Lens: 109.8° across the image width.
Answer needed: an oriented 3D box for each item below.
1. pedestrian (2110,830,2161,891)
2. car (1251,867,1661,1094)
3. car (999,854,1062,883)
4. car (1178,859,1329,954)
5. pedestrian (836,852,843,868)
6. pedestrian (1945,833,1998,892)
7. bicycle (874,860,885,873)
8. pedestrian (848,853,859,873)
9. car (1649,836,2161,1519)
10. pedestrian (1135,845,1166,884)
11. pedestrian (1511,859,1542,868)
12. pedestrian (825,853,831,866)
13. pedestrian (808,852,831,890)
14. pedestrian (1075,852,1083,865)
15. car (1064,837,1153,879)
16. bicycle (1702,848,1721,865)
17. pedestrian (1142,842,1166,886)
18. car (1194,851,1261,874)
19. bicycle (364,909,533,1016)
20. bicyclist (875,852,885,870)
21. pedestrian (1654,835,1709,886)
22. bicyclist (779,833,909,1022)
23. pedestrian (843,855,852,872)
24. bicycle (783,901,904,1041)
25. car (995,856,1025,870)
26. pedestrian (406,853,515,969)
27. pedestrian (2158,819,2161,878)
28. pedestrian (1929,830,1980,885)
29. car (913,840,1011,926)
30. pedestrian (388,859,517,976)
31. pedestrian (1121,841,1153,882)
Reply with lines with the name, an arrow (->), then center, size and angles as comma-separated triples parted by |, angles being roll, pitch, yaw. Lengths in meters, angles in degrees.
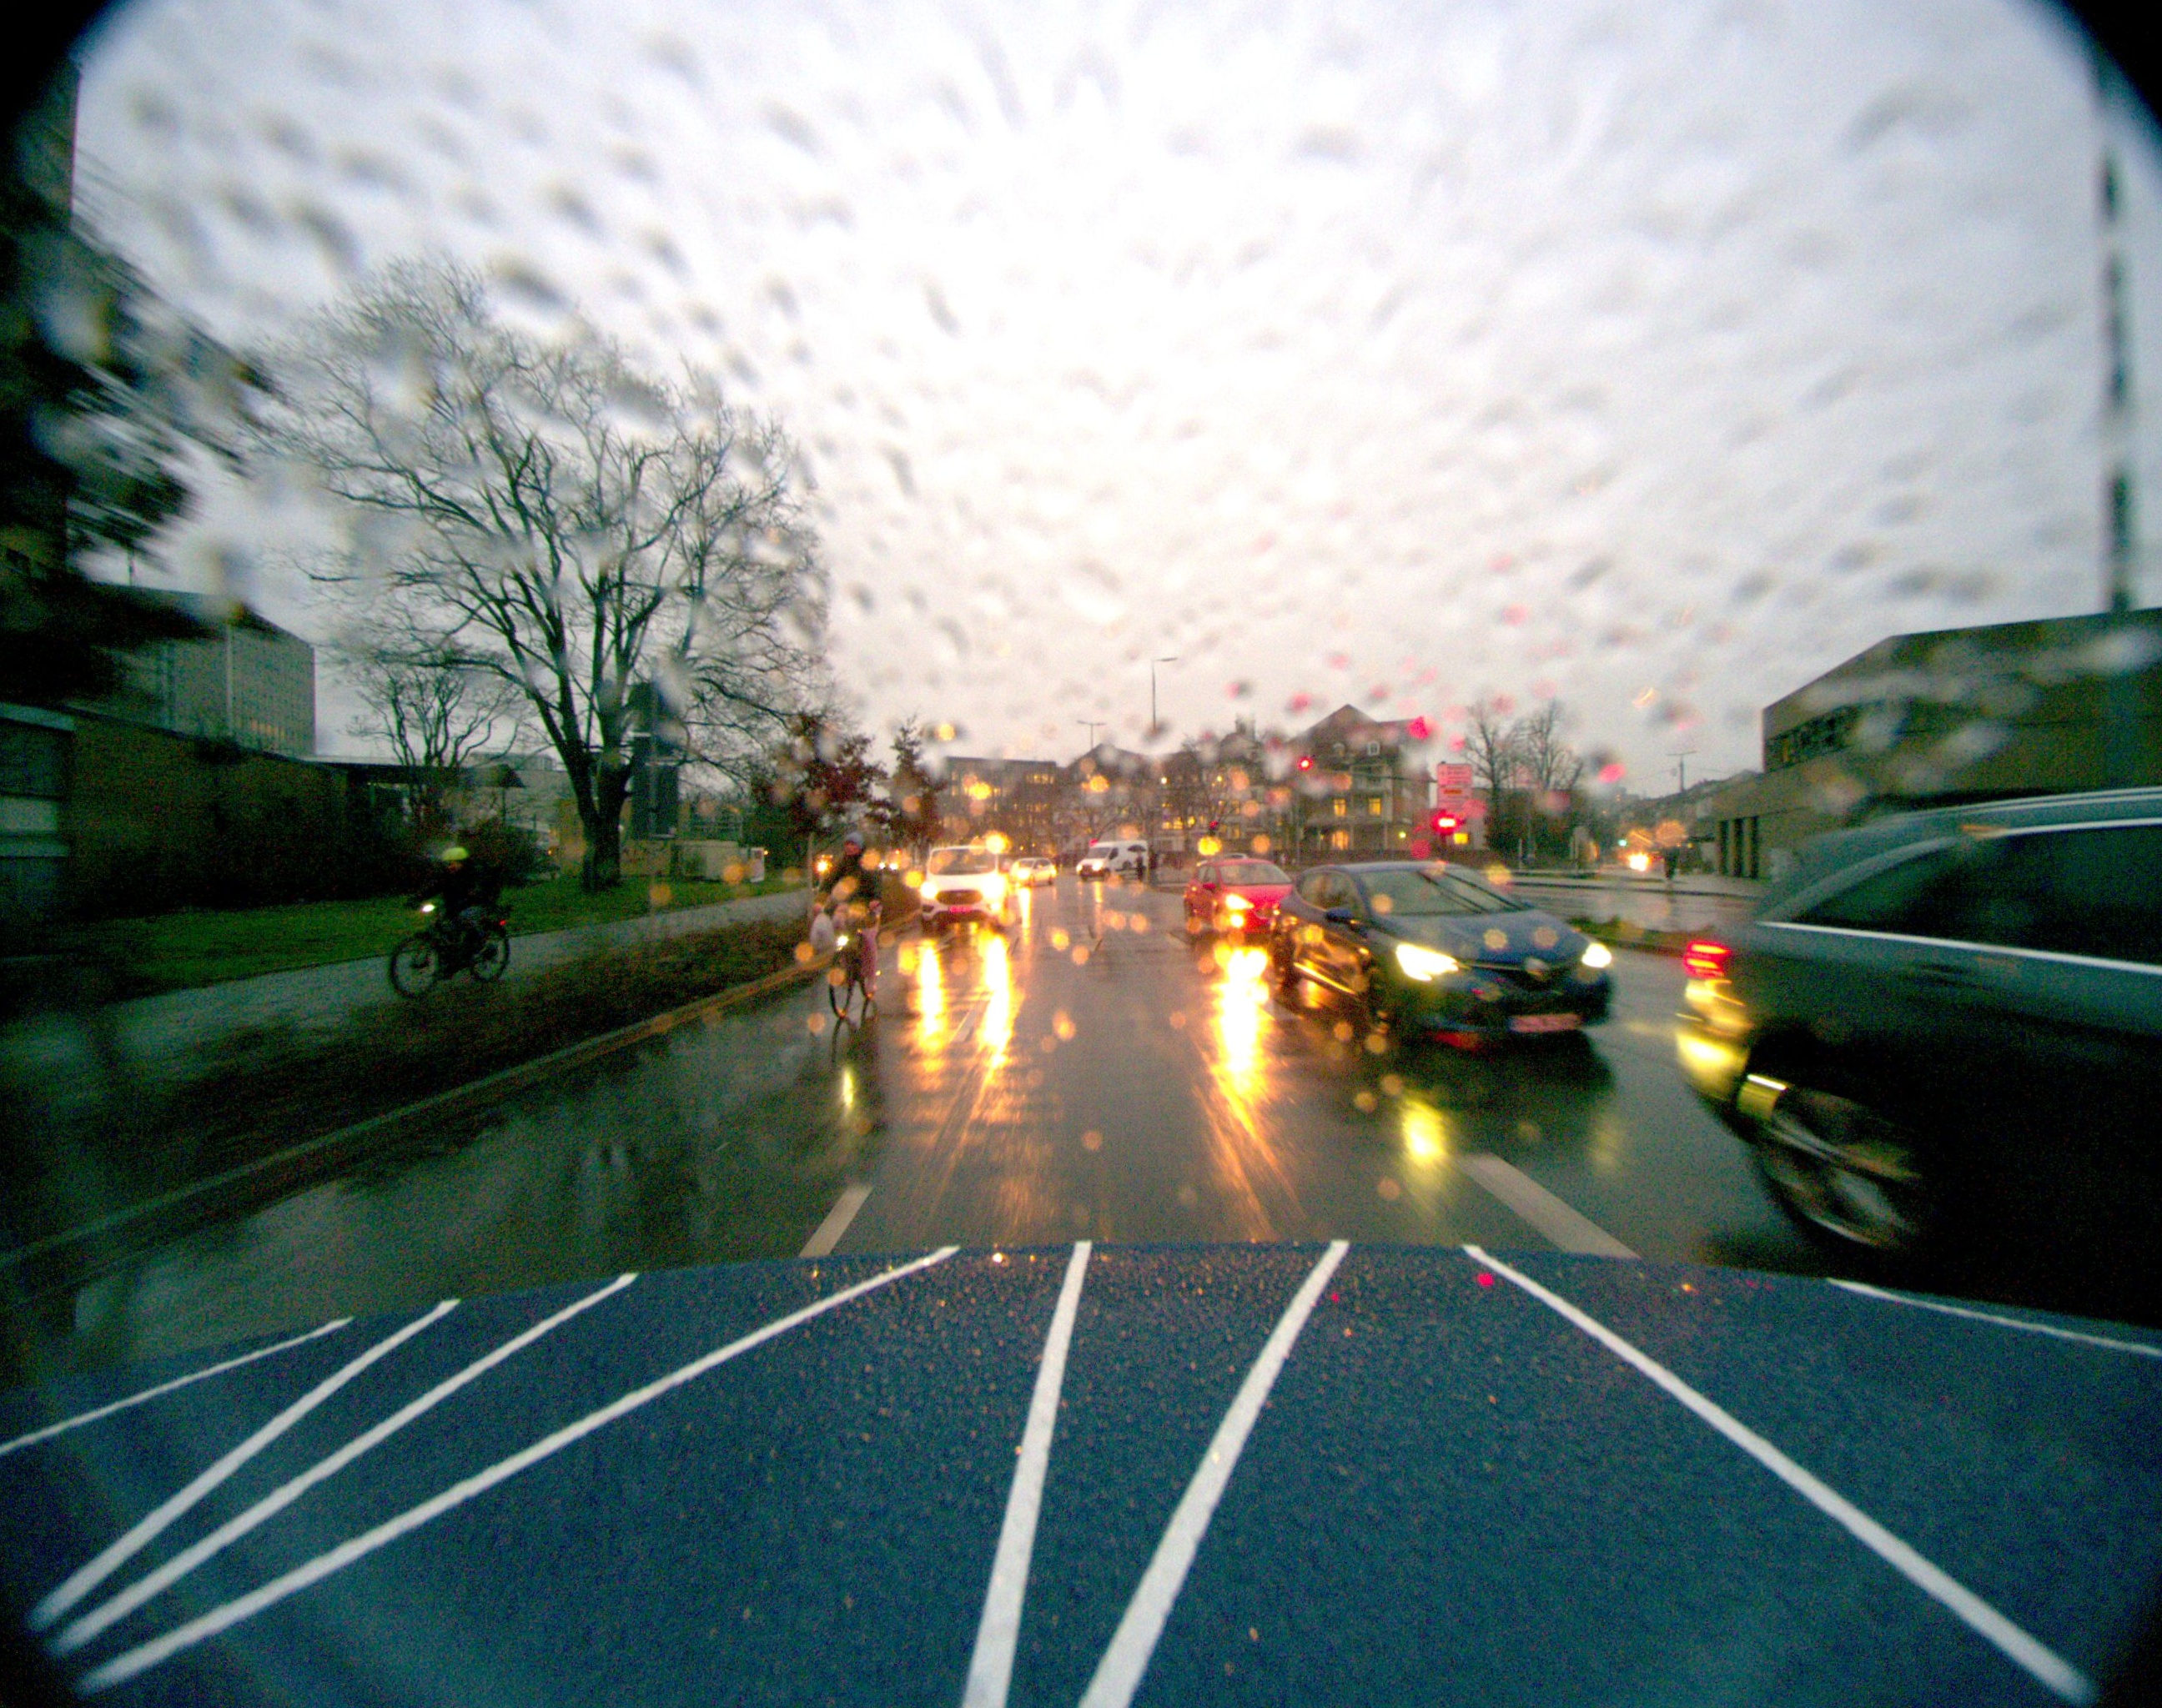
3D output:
pedestrian -> 30.579, 0.190, 21.925 | 0.741, 1.716, 0.744 | 0, 0, 8
car -> 3.065, 0.901, 7.299 | 1.663, 1.396, 4.118 | -3, 0, -4
car -> -2.767, 0.833, 42.740 | 1.751, 1.494, 4.325 | -2, -2, 23
car -> 3.152, 0.895, 14.678 | 1.705, 1.473, 3.870 | -3, 0, -4
pedestrian -> -30.913, 0.792, 97.247 | 0.767, 2.002, 0.908 | -1, 1, -23
pedestrian -> 26.748, 0.249, 22.832 | 0.662, 1.757, 0.832 | 0, 0, -17
bicycle -> -19.124, 1.148, 72.201 | 0.807, 1.135, 2.210 | 3, 0, -18
pedestrian -> -20.863, 0.806, 69.639 | 0.934, 1.815, 0.832 | 0, 1, -22
car -> 3.487, 0.779, 1.143 | 1.790, 1.591, 4.540 | -3, 0, -1
pedestrian -> 3.440, 0.535, 37.508 | 1.037, 1.846, 1.068 | 0, -2, -38
pedestrian -> 52.066, 1.164, 88.810 | 3.091, 0.924, 0.951 | -3, -3, 35
pedestrian -> -38.068, 0.844, 114.523 | 0.767, 2.002, 0.771 | -1, 1, -23
pedestrian -> -12.023, 0.785, 34.929 | 0.913, 1.677, 0.926 | 1, -2, -17
pedestrian -> -0.274, 0.653, 111.677 | 0.810, 1.820, 0.945 | 0, 1, -26
car -> 1.877, 0.286, 49.372 | 5.881, 2.502, 2.342 | 1, -3, -45
bicycle -> 42.029, 0.177, 50.672 | 0.645, 1.097, 2.757 | -2, -3, 33
pedestrian -> 3.386, 0.491, 35.197 | 0.848, 1.993, 1.109 | -1, -2, -6
car -> 11.053, 0.618, 57.212 | 4.823, 1.634, 1.835 | 0, 1, -26
bicycle -> -7.410, 1.217, 9.046 | 0.563, 0.941, 2.093 | 0, 1, -10
bicyclist -> -19.137, 0.651, 72.267 | 0.807, 1.608, 1.084 | 3, 0, -19
pedestrian -> 22.460, 0.260, 28.466 | 1.232, 1.846, 1.037 | -2, -2, 13
bicyclist -> -2.540, 0.742, 8.314 | 1.027, 1.872, 1.235 | -2, 1, -3
pedestrian -> -25.788, 1.016, 83.891 | 0.934, 1.815, 0.832 | 0, 1, -22
bicycle -> -2.536, 1.202, 8.364 | 0.794, 1.215, 1.903 | -2, 0, -3
car -> -7.343, 0.903, 78.282 | 1.934, 1.368, 4.490 | 0, 0, -22
pedestrian -> -9.447, 0.829, 11.617 | 0.810, 1.678, 1.070 | 1, 1, -5
pedestrian -> 31.862, -0.157, 21.859 | 0.743, 1.716, 0.743 | 0, 0, -10
pedestrian -> 27.510, 0.112, 23.939 | 0.741, 1.716, 0.744 | 0, 0, 8
car -> -2.924, 0.742, 19.692 | 2.138, 1.909, 5.016 | -1, -2, -5
pedestrian -> -7.500, 0.723, 9.120 | 0.877, 1.309, 0.847 | 0, 1, -12
pedestrian -> 2.898, 0.400, 39.426 | 1.218, 2.037, 1.033 | 1, -3, -43
